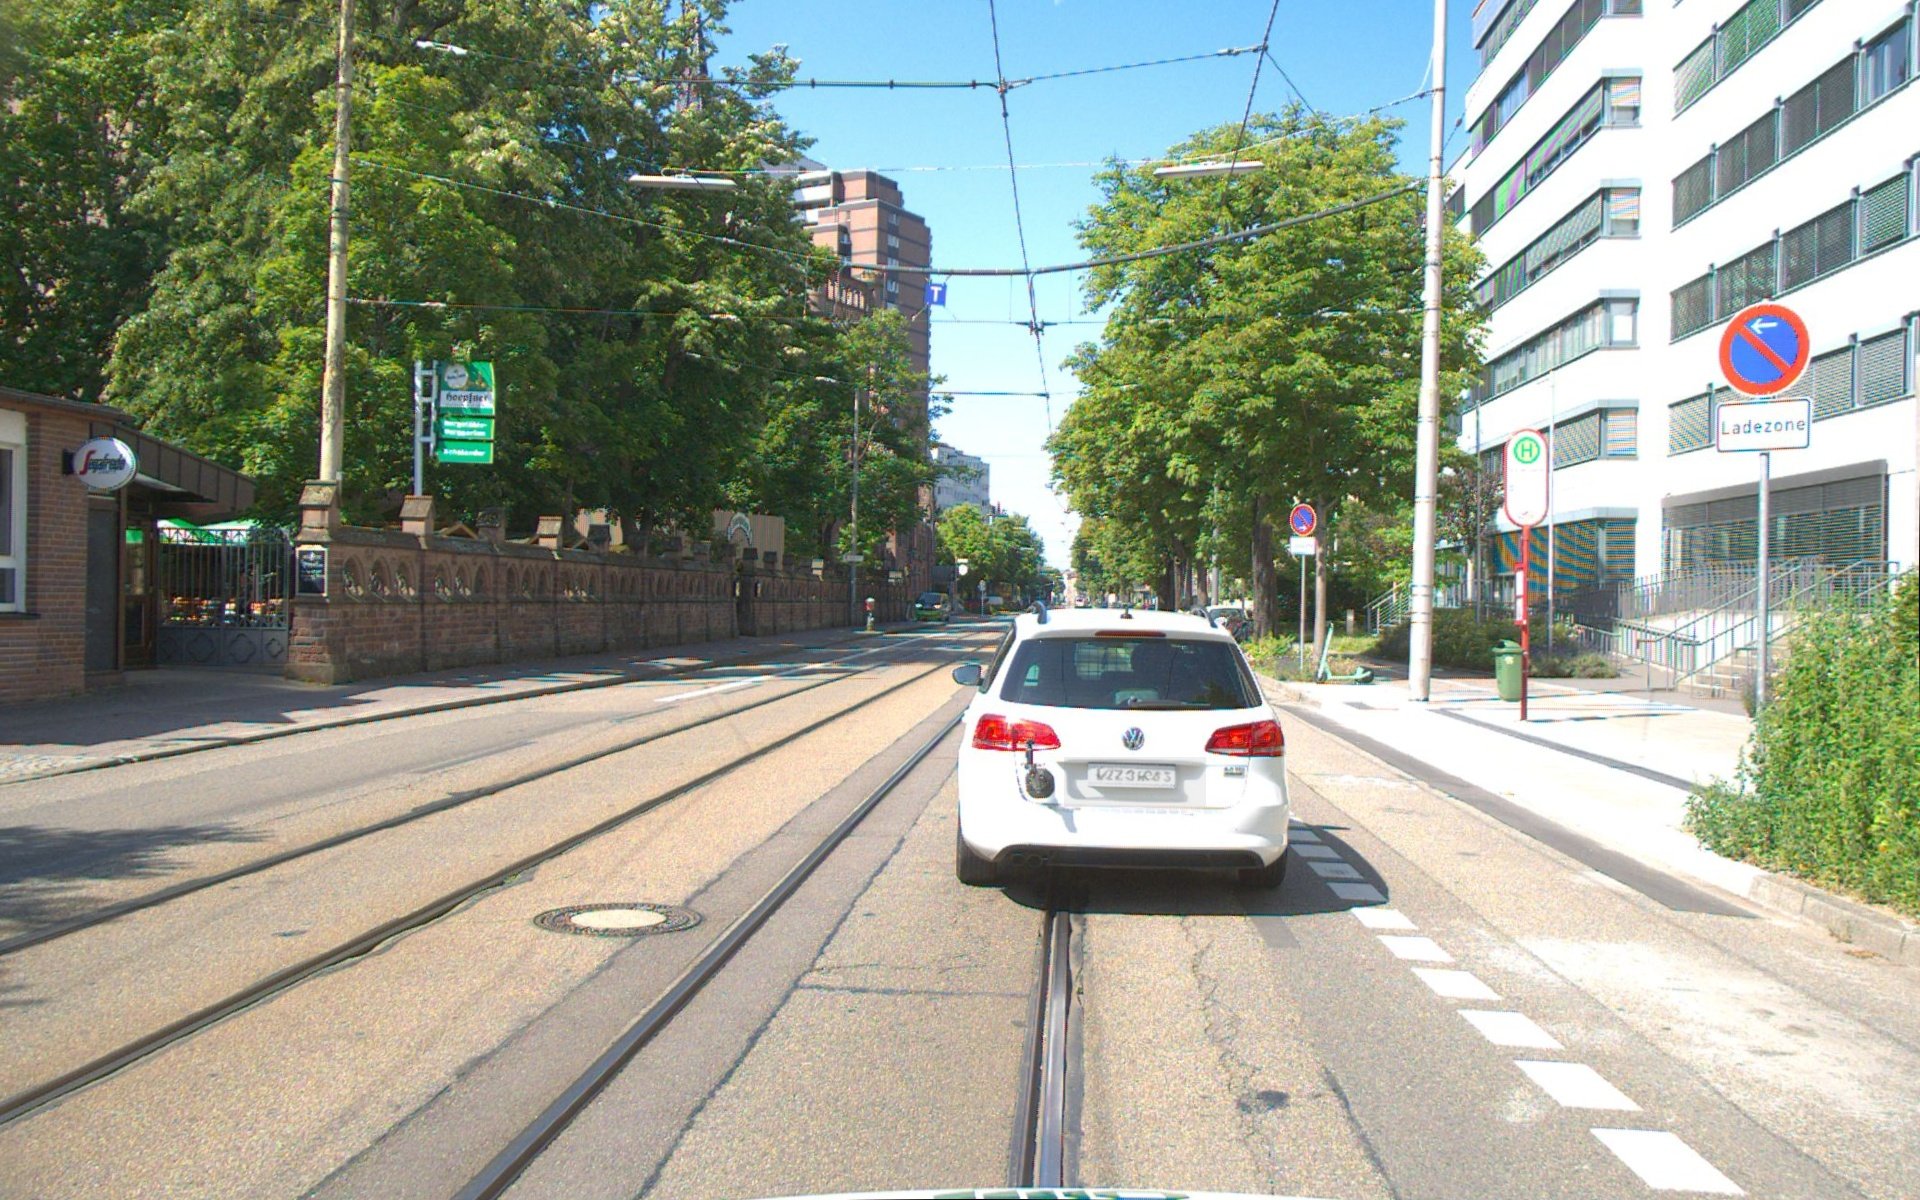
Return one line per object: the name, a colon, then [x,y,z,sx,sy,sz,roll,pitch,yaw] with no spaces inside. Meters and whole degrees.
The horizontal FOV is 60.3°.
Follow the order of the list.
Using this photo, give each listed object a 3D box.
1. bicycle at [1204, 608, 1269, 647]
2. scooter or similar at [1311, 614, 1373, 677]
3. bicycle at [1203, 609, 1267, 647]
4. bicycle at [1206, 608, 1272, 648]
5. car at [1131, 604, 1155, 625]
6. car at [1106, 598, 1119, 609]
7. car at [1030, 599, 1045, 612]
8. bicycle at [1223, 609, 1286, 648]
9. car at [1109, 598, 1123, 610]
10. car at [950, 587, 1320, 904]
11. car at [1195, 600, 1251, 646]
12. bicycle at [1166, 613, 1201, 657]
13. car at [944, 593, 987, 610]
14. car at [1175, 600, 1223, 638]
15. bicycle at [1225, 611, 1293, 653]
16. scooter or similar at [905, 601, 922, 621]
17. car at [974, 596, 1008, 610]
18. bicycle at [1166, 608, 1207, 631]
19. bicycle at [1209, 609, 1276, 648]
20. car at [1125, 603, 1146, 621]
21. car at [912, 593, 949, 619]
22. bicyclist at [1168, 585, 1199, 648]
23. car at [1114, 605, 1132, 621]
bicycle: [8.525,0.850,51.028,1.872,1.101,0.551,3,0,2]
scooter or similar: [7.354,0.875,31.900,1.118,1.174,0.493,1,0,10]
bicycle: [8.585,0.865,51.667,1.846,1.101,0.551,3,0,2]
bicycle: [8.503,0.845,50.414,1.872,1.101,0.551,3,0,2]
car: [12.914,1.016,116.669,1.677,1.426,3.845,0,0,6]
car: [20.426,0.441,221.535,1.677,1.426,3.845,0,0,5]
car: [8.542,0.649,182.775,1.461,1.409,3.645,0,0,5]
bicycle: [8.634,0.835,48.552,1.737,1.139,0.597,0,0,2]
car: [18.983,0.492,201.094,1.677,1.426,3.845,0,0,5]
car: [0.947,0.680,9.928,1.717,1.467,4.414,0,0,3]
car: [8.816,0.746,55.632,1.557,1.476,3.948,0,0,5]
bicycle: [5.900,0.906,43.698,0.794,1.097,2.013,1,0,5]
car: [0.581,0.178,175.254,4.052,1.557,1.923,3,0,-17]
car: [9.727,0.753,67.567,1.629,1.469,4.636,0,0,5]
bicycle: [8.089,0.856,44.832,1.737,1.102,0.597,0,0,2]
scooter or similar: [-2.836,0.658,100.637,0.398,1.175,1.138,0,0,38]
car: [3.886,0.377,208.326,3.947,1.847,1.979,0,0,-32]
bicycle: [10.111,0.856,73.874,1.751,1.028,0.488,0,0,-1]
bicycle: [8.500,0.852,49.814,1.872,1.101,0.551,3,0,2]
car: [14.606,0.993,137.872,1.677,1.426,3.845,0,0,5]
car: [-2.044,0.414,116.158,1.951,1.788,4.715,0,0,7]
bicyclist: [5.941,0.442,43.975,0.769,1.658,0.738,0,0,4]
car: [15.365,1.198,155.978,1.677,1.426,3.845,0,0,5]
